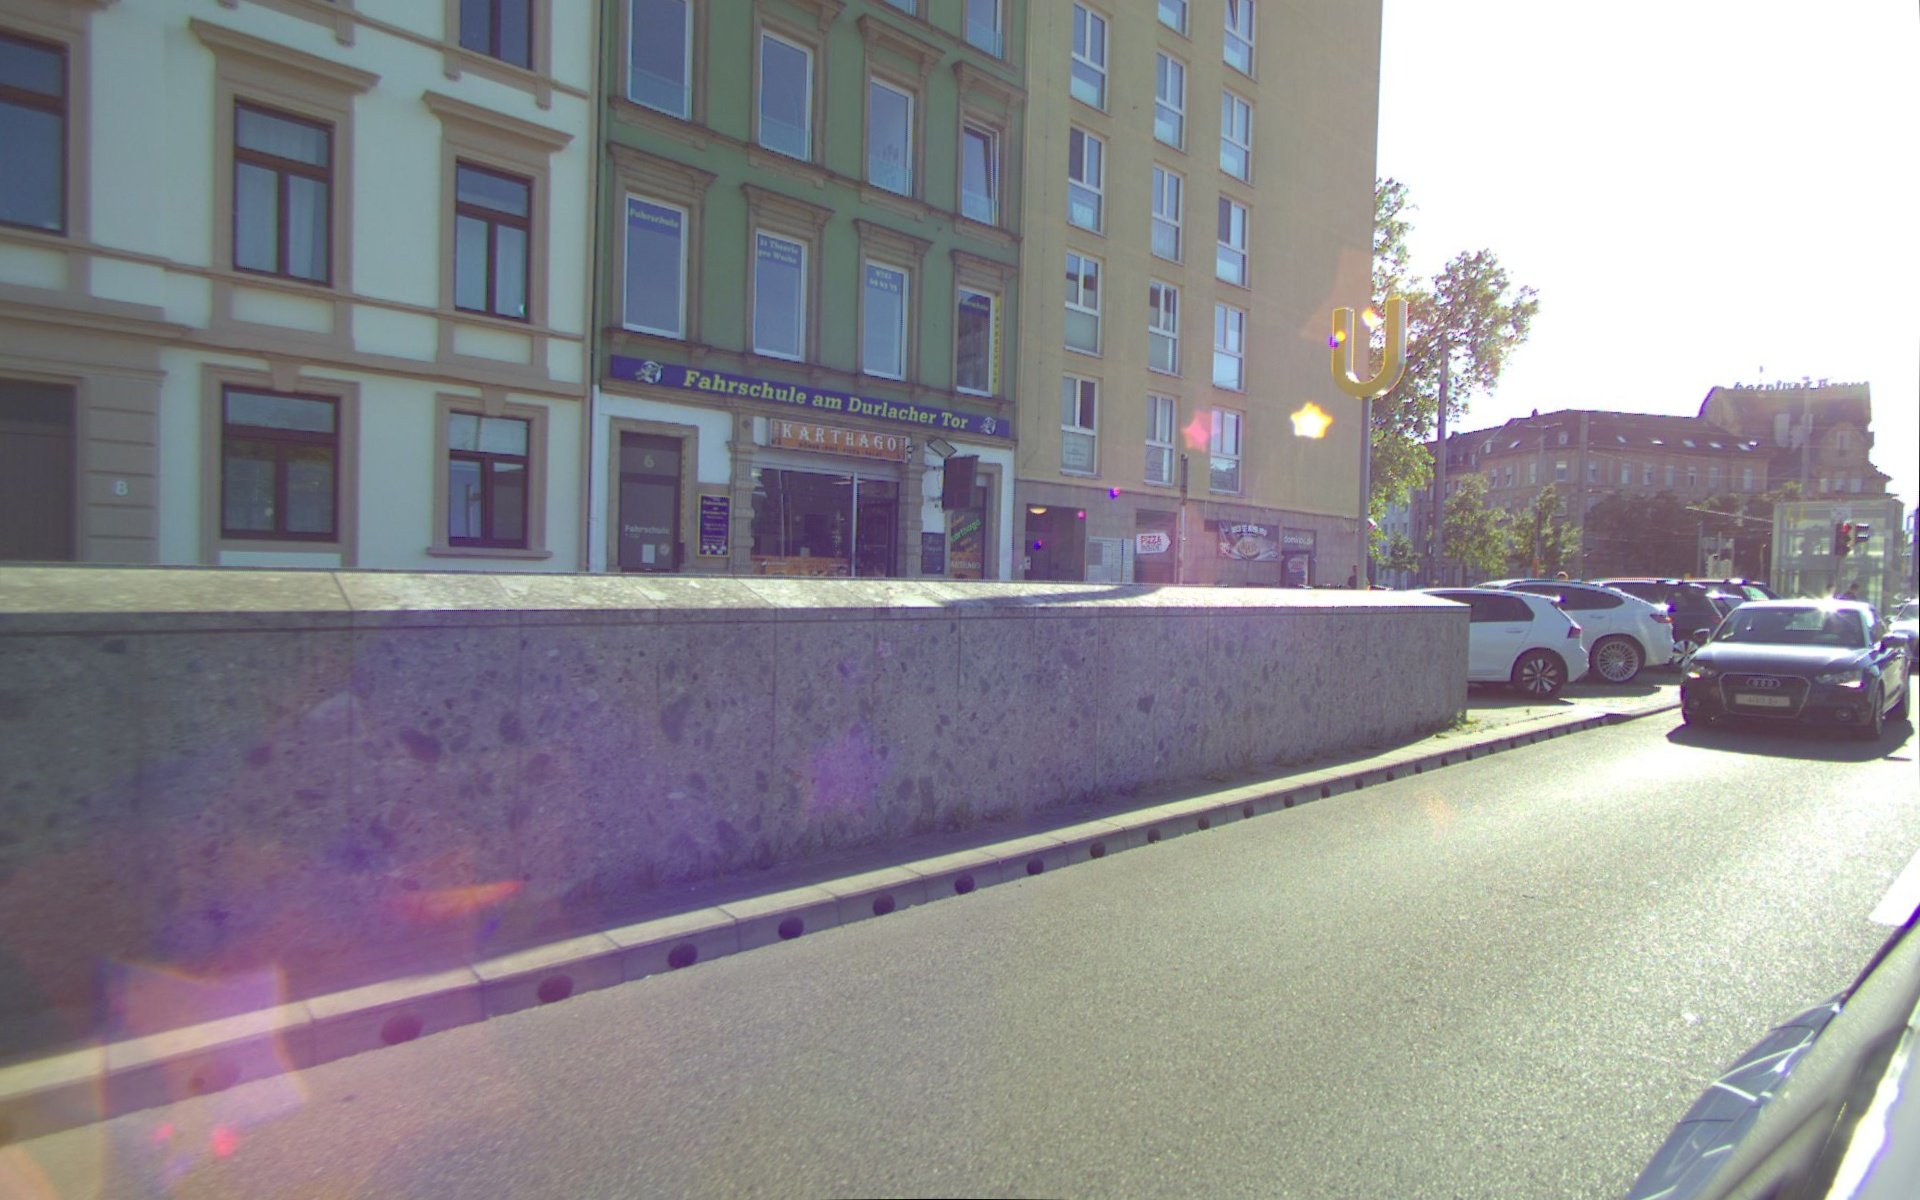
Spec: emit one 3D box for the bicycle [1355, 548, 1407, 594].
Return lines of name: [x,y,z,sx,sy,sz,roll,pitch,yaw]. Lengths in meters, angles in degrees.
bicycle: [12.303,-0.838,29.531,1.869,1.263,0.658,-1,4,-44]

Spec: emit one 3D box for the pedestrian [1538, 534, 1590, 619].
pedestrian: [13.831,-0.538,23.190,0.740,1.889,0.697,2,1,8]

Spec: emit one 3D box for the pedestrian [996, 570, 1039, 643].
pedestrian: [1.068,0.112,18.830,0.580,1.335,0.517,0,2,-34]

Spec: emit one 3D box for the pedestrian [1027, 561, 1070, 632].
pedestrian: [1.676,-0.074,19.227,0.580,1.335,0.517,0,2,-34]

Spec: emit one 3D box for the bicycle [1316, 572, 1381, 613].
bicycle: [14.094,-0.280,36.748,1.993,1.361,0.802,5,4,44]

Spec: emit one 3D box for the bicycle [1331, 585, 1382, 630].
bicycle: [11.792,0.198,30.084,1.869,1.263,0.658,-1,4,-44]

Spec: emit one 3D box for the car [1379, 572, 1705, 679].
car: [9.417,0.372,16.698,4.177,1.590,1.957,1,1,6]

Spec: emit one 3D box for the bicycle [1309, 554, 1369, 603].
bicycle: [10.445,-0.592,27.866,0.658,1.263,2.262,5,4,43]

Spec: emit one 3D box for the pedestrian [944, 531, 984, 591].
pedestrian: [0.074,-0.766,19.931,0.580,1.174,0.517,0,2,-34]

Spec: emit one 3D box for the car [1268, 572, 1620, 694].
car: [6.660,0.395,14.385,4.044,1.482,1.958,2,2,8]

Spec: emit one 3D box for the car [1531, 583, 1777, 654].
car: [14.384,0.357,21.170,3.824,1.417,1.786,0,1,6]

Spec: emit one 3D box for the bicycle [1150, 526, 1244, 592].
bicycle: [5.631,-0.962,23.990,2.187,1.374,0.933,4,1,-37]

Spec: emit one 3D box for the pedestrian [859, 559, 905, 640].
pedestrian: [-1.331,-0.016,17.267,0.515,1.335,0.583,3,2,42]

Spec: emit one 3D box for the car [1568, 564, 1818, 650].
car: [16.742,0.134,23.344,4.180,1.837,1.956,1,1,9]

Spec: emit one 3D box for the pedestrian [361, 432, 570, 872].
pedestrian: [-2.540,0.234,5.183,0.685,2.038,0.752,4,1,-40]

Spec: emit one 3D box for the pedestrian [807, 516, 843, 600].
pedestrian: [-2.829,-0.876,21.167,0.580,1.732,0.517,0,2,-28]

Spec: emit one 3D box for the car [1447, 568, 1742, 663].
car: [11.661,0.247,18.885,4.178,1.618,1.957,1,1,7]

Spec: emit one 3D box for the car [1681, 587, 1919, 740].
car: [9.833,0.585,11.615,3.765,1.405,1.693,-1,2,-41]

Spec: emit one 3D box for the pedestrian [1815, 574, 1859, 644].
pedestrian: [22.533,0.212,26.006,0.693,1.749,0.744,2,2,33]

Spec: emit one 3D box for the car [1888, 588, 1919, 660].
car: [20.522,0.453,20.651,4.379,1.405,1.824,0,1,-40]

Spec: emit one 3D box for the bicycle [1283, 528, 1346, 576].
bicycle: [9.968,-1.333,28.418,2.260,1.263,0.658,-1,4,-43]

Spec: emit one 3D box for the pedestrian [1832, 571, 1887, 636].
pedestrian: [24.912,0.078,28.033,0.784,1.749,0.865,2,2,18]

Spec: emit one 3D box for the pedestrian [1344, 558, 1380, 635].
pedestrian: [10.146,-0.100,25.561,0.744,1.889,0.826,2,2,20]

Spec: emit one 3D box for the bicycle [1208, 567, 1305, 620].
bicycle: [7.789,-0.178,26.522,3.009,1.279,0.986,0,2,-42]
